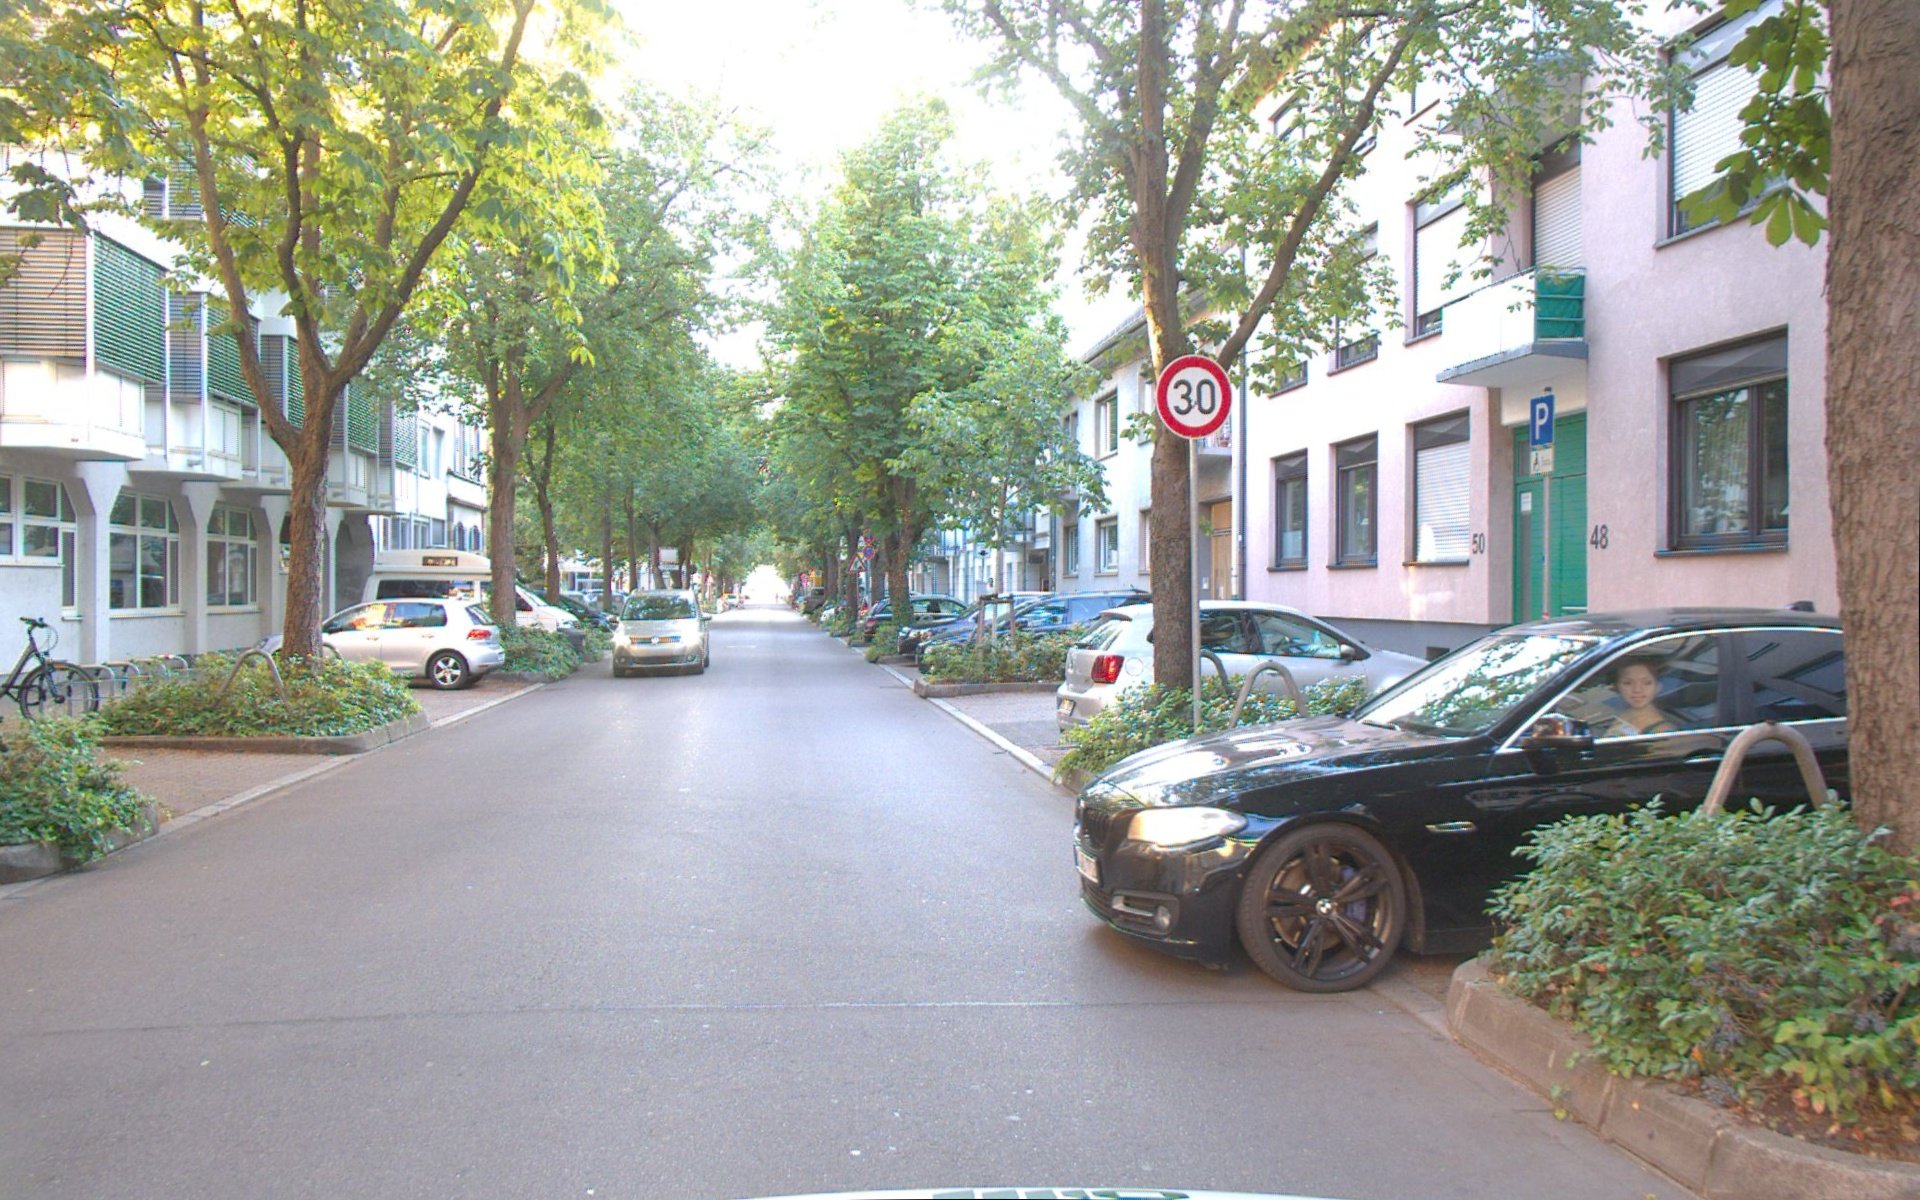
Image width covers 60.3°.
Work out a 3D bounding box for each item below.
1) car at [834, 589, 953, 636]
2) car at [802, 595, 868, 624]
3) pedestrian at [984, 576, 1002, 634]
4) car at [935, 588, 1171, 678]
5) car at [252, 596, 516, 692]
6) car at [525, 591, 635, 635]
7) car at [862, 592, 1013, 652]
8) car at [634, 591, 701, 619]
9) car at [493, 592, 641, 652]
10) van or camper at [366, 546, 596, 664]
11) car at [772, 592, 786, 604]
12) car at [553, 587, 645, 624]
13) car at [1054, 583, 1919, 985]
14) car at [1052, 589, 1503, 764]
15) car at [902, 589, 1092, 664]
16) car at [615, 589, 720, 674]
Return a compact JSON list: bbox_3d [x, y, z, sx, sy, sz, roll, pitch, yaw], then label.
[{"bbox_3d":[-2.290,0.402,56.223,3.894,1.554,1.782,0,0,-8],"label":"car"},{"bbox_3d":[-7.571,0.549,100.124,3.891,1.713,1.783,0,0,-6],"label":"car"},{"bbox_3d":[1.177,0.176,59.567,0.577,2.049,0.669,0,0,-5],"label":"pedestrian"},{"bbox_3d":[1.596,0.548,29.102,3.894,1.502,1.782,0,0,-9],"label":"car"},{"bbox_3d":[-9.687,0.713,28.067,3.891,1.544,1.783,0,0,-6],"label":"car"},{"bbox_3d":[-14.628,0.504,63.793,3.891,1.647,1.783,0,0,-6],"label":"car"},{"bbox_3d":[-0.639,0.561,44.372,3.893,1.554,1.782,0,0,-7],"label":"car"},{"bbox_3d":[-17.908,0.296,101.290,3.891,1.647,1.783,0,0,-6],"label":"car"},{"bbox_3d":[-11.204,0.609,47.357,3.891,1.647,1.783,0,0,-6],"label":"car"},{"bbox_3d":[-10.450,0.091,36.375,4.575,2.521,1.997,0,0,-7],"label":"van or camper"},{"bbox_3d":[-24.333,-0.228,222.412,1.787,1.557,3.995,0,0,-6],"label":"car"},{"bbox_3d":[-16.439,0.223,75.382,3.891,1.647,1.783,0,0,-6],"label":"car"},{"bbox_3d":[2.866,0.683,7.405,4.654,1.506,1.797,0,0,-7],"label":"car"},{"bbox_3d":[2.904,0.663,15.517,3.836,1.502,1.661,0,0,-9],"label":"car"},{"bbox_3d":[0.761,0.543,35.574,3.893,1.554,1.782,0,0,-7],"label":"car"},{"bbox_3d":[-5.767,0.573,32.973,1.745,1.589,4.163,0,0,-6],"label":"car"}]
